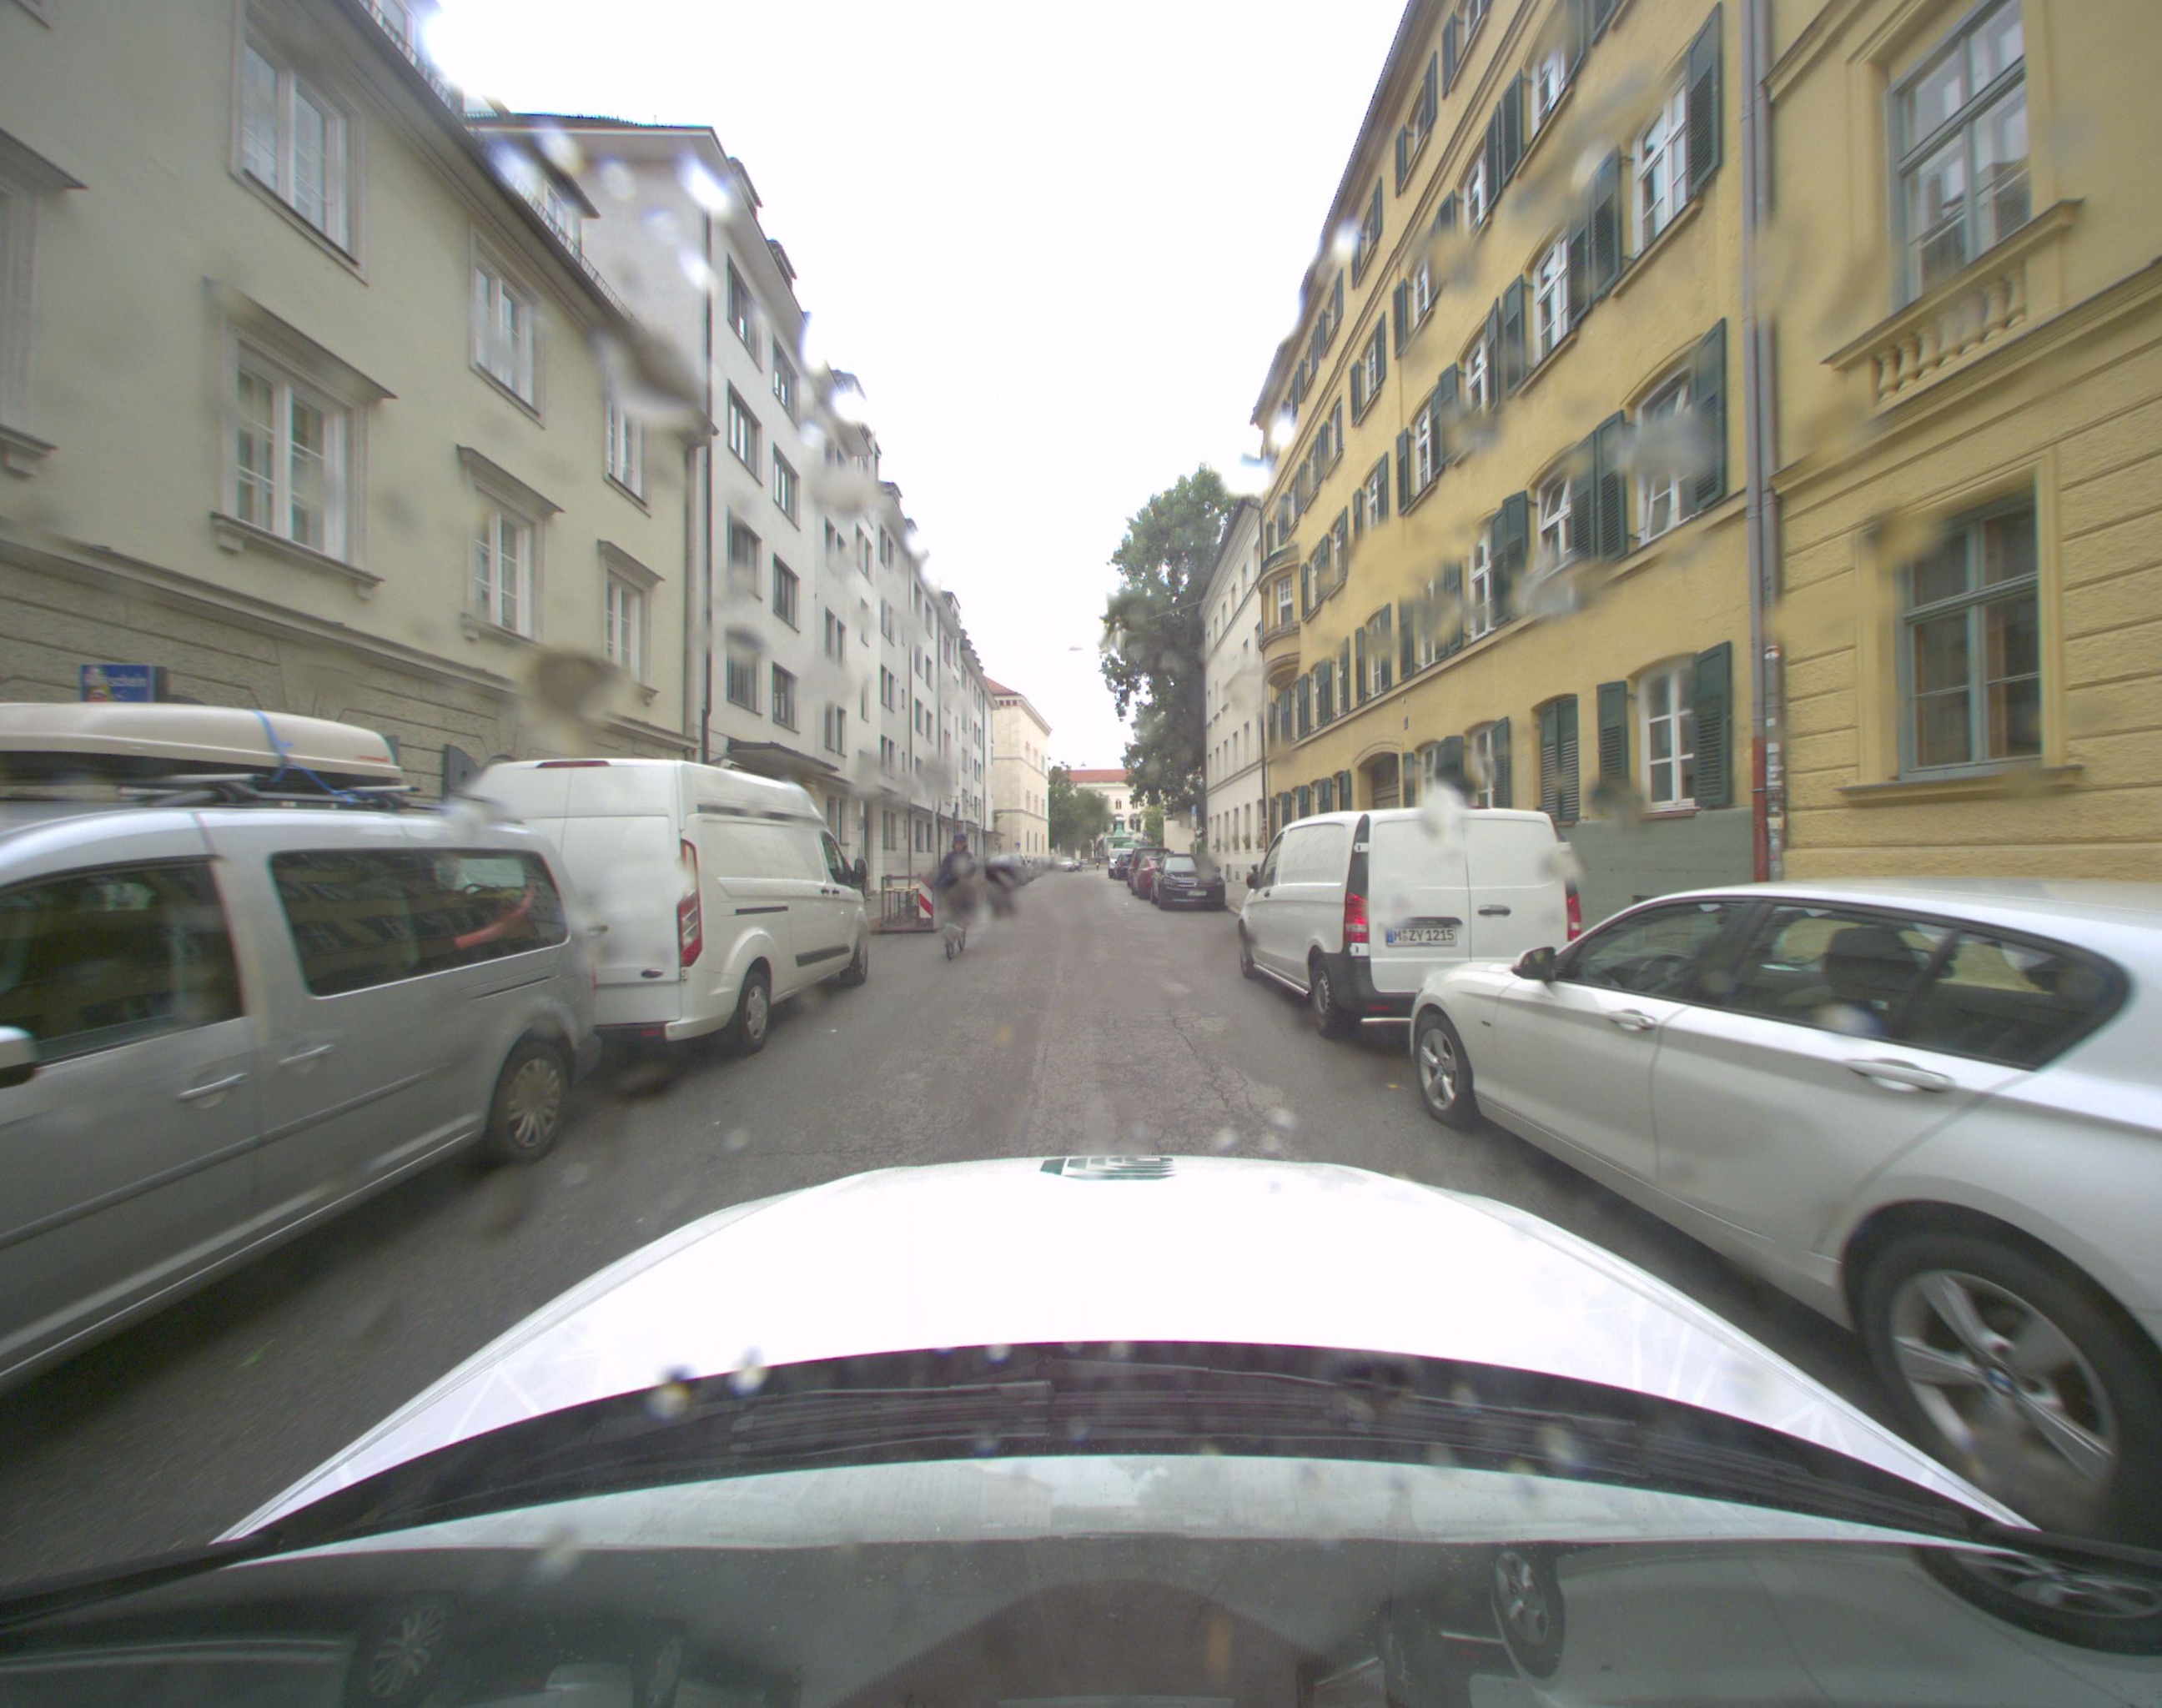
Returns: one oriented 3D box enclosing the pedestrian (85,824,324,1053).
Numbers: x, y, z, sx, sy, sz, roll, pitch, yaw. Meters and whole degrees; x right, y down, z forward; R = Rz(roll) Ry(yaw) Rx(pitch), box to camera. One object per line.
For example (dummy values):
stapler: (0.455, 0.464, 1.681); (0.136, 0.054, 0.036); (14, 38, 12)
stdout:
pedestrian: (-7.057, 0.632, 6.628); (0.802, 1.711, 1.022); (-1, 0, 1)

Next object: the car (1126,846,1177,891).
car: (2.983, 0.602, 35.169); (1.840, 1.776, 4.201); (1, -1, 1)

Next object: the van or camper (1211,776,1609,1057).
van or camper: (2.826, 0.446, 8.566); (1.988, 2.013, 5.230); (-1, 0, -1)

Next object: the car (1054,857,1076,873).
car: (-1.616, 1.135, 84.627); (1.770, 1.535, 4.216); (-2, -1, 4)

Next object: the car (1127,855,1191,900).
car: (2.655, 0.782, 28.471); (1.708, 1.424, 4.455); (-1, 0, -1)

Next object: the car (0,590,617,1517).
car: (-3.568, 0.476, 2.652); (1.855, 2.201, 4.552); (0, 0, -6)

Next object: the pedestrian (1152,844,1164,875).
pedestrian: (5.659, 0.404, 59.630); (0.791, 2.197, 0.813); (0, 0, -1)

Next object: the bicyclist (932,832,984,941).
bicyclist: (-1.890, 0.483, 12.622); (0.684, 1.627, 0.852); (0, 0, -1)

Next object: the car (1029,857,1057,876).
car: (-3.201, 1.017, 69.443); (1.742, 1.453, 4.022); (-2, 0, 6)

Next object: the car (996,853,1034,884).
car: (-3.808, 0.798, 47.651); (1.866, 1.658, 4.589); (-2, 0, -1)

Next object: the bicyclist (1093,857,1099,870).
bicyclist: (1.832, 1.160, 98.377); (0.654, 1.551, 0.888); (-1, -1, 3)

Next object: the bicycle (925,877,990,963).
bicycle: (-1.876, 0.971, 12.632); (0.730, 1.151, 1.998); (-1, 0, -1)

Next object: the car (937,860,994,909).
car: (-3.703, 0.932, 26.547); (1.637, 1.354, 4.049); (-2, 0, -6)

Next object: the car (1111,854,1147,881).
car: (2.878, 0.798, 49.274); (1.803, 1.600, 4.212); (0, 0, -2)

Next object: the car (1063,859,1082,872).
car: (-0.911, 1.276, 90.991); (1.690, 1.393, 4.218); (-2, -1, 6)

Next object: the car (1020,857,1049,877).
car: (-3.660, 1.031, 64.619); (1.743, 1.453, 4.019); (-2, 0, 3)

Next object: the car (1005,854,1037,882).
car: (-3.894, 0.863, 53.553); (1.868, 1.658, 4.586); (-2, 0, -3)

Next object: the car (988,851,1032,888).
car: (-3.613, 0.750, 42.160); (1.866, 1.688, 4.519); (-2, 0, -1)

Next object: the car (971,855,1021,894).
car: (-3.726, 0.869, 36.321); (1.768, 1.539, 4.158); (-2, 0, -1)

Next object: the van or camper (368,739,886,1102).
van or camper: (-3.572, 0.423, 7.980); (1.987, 2.311, 5.477); (-1, 0, 0)

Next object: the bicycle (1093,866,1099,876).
bicycle: (1.872, 2.030, 98.365); (0.646, 1.197, 1.951); (-1, -1, 2)

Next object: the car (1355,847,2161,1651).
car: (2.889, 0.746, 3.391); (1.811, 1.510, 4.584); (-1, 0, -2)

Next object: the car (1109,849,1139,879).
car: (2.878, 0.642, 55.286); (1.875, 1.924, 4.877); (-1, 0, 2)

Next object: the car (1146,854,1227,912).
car: (2.884, 0.741, 23.016); (1.740, 1.464, 4.000); (-1, 0, 0)
